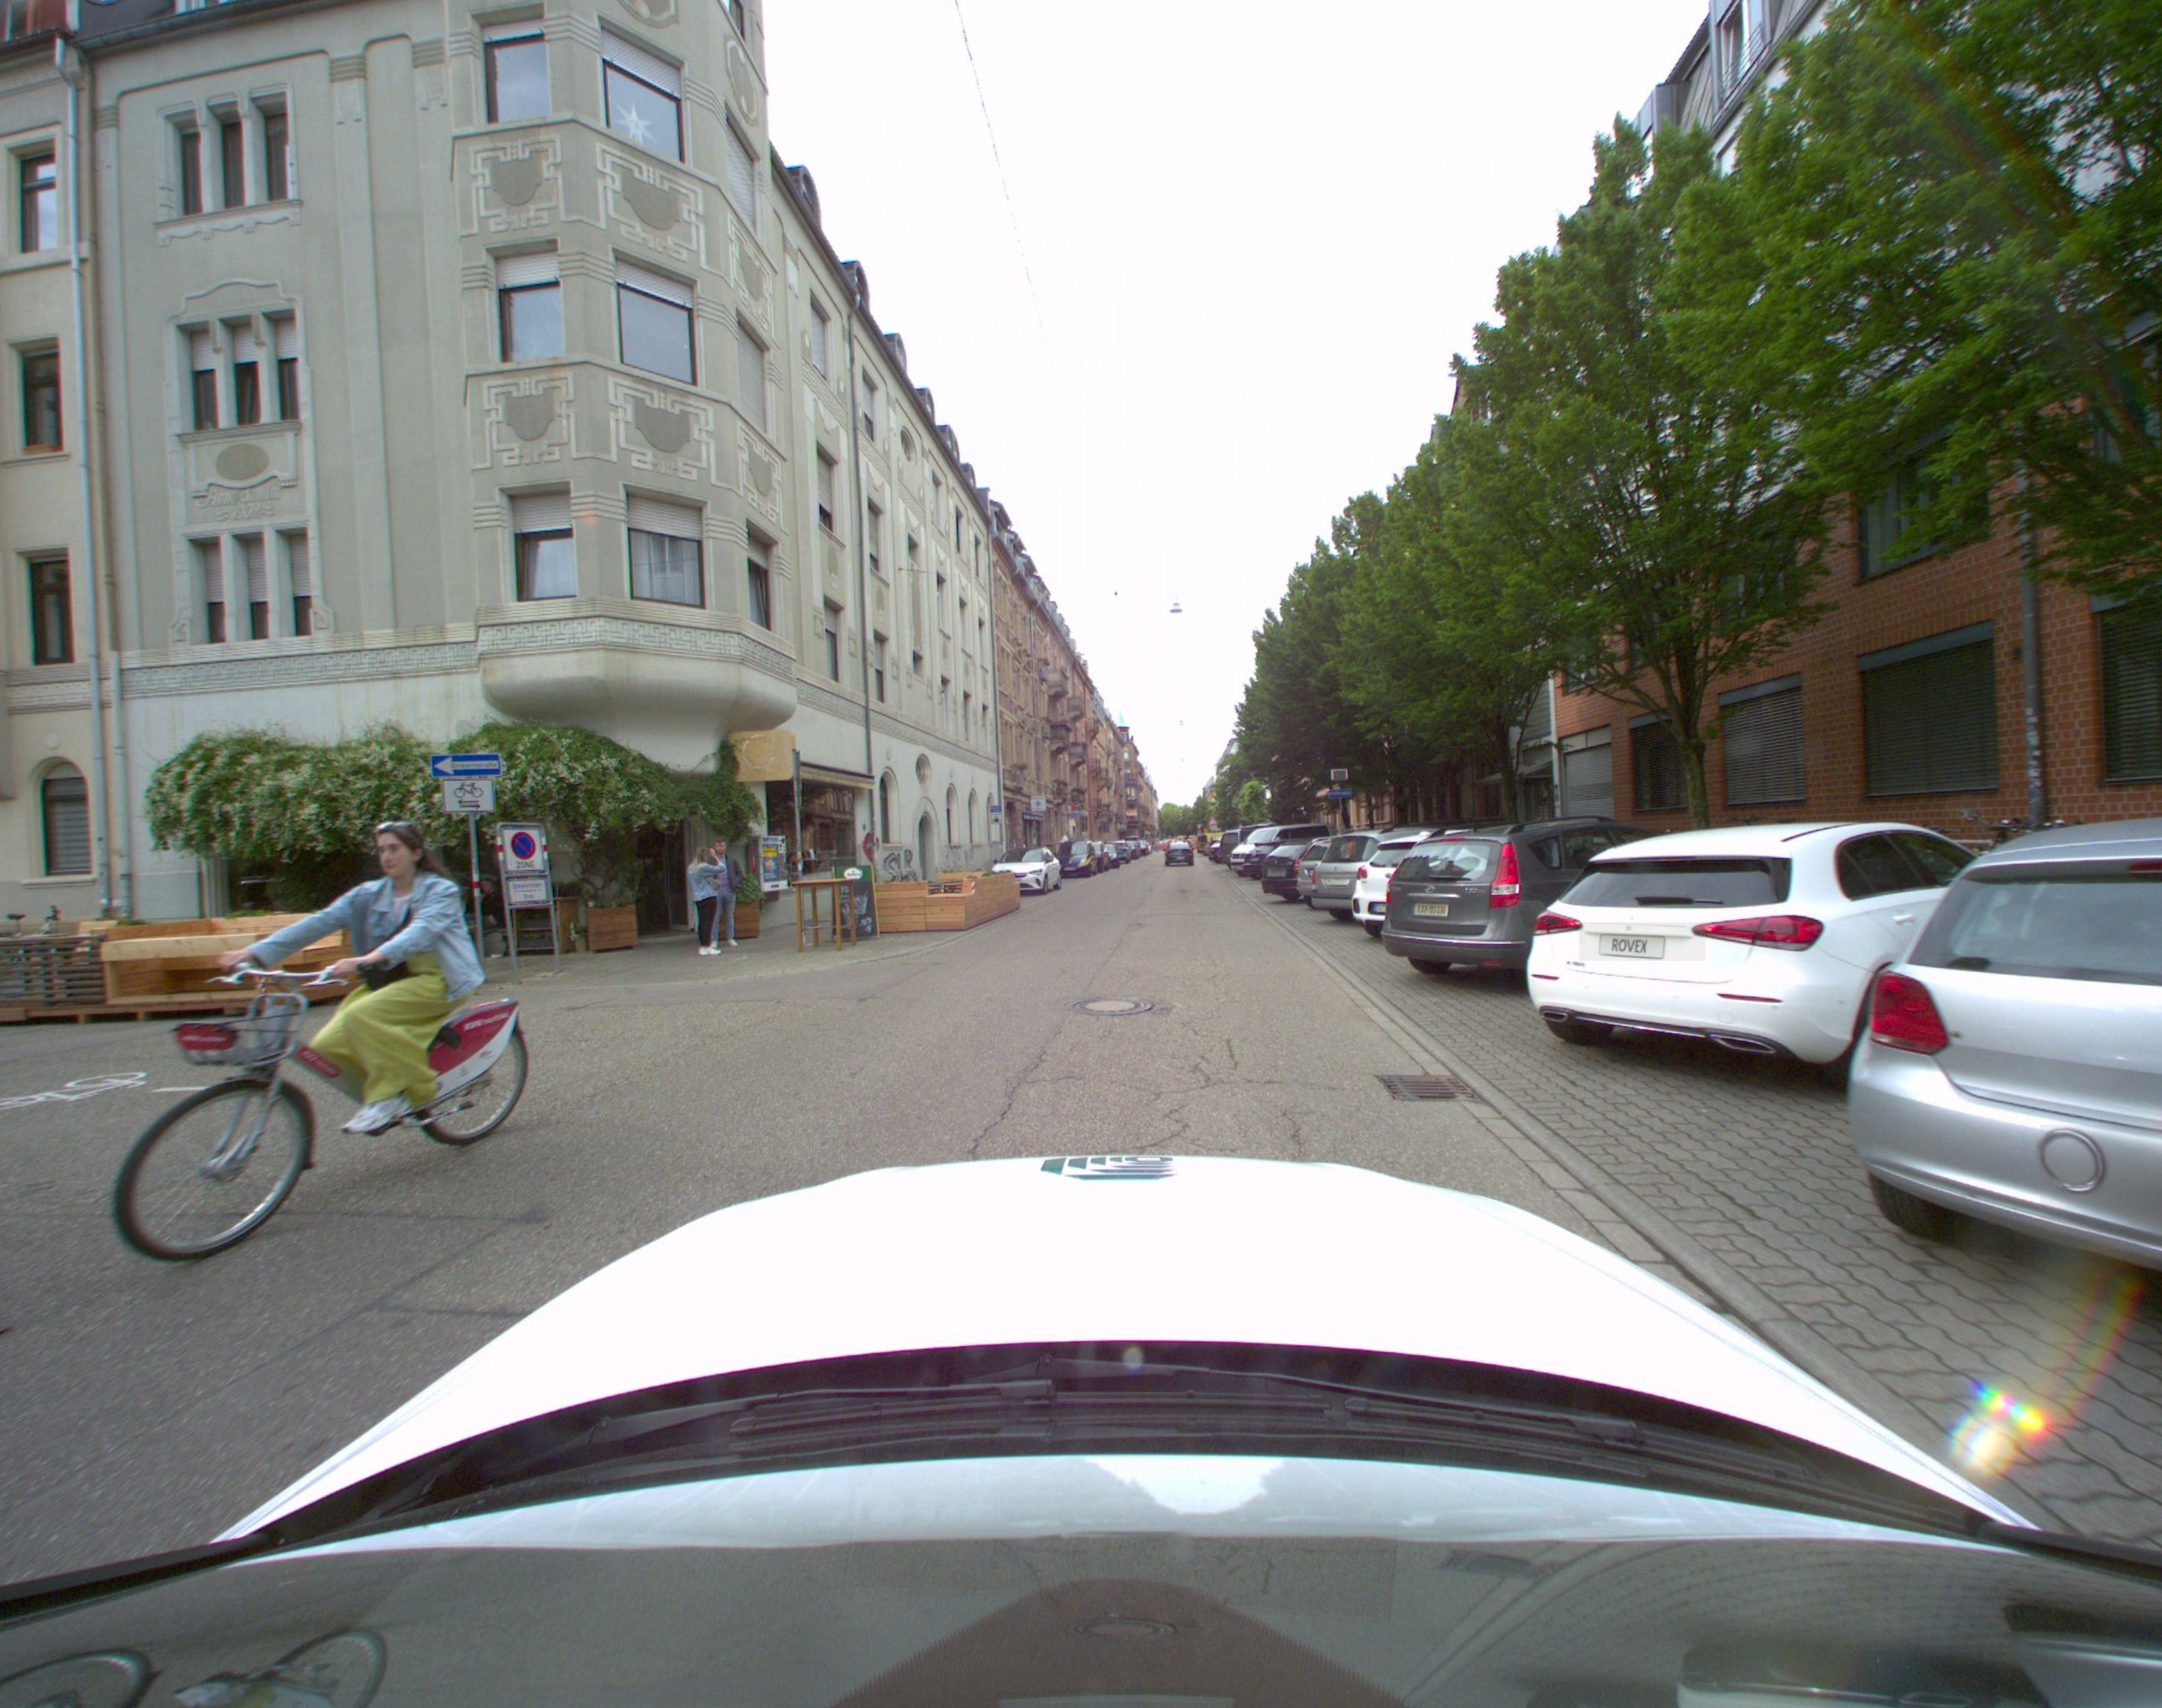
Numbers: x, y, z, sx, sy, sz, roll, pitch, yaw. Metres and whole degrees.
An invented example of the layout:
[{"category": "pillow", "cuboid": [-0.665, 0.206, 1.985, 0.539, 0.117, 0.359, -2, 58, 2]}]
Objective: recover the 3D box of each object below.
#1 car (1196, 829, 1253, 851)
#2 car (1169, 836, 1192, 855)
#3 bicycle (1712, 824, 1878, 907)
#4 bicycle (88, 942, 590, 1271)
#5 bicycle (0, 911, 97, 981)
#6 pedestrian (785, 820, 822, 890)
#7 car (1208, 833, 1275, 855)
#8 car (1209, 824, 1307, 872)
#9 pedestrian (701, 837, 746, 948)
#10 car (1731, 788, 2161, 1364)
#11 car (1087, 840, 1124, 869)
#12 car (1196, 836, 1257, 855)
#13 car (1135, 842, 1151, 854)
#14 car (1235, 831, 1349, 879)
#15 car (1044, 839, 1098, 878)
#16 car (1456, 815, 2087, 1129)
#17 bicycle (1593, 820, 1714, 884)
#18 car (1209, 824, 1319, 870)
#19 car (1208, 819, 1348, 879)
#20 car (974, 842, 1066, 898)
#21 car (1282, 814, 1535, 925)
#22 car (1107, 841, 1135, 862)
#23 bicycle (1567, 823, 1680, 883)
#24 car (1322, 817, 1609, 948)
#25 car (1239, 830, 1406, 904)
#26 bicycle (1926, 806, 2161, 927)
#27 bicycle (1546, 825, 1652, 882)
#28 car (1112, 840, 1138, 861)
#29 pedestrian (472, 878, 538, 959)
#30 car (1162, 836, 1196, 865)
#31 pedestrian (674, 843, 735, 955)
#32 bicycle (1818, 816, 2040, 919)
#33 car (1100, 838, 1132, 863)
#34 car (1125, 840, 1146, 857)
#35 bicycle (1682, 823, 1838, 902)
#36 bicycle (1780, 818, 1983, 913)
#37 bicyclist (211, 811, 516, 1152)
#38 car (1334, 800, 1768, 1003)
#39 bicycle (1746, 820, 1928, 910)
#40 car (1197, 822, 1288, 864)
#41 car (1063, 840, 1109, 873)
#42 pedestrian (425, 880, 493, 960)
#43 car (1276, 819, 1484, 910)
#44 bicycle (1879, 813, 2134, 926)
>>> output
[{"category": "car", "cuboid": [14.293, -1.385, 81.159, 5.410, 1.868, 1.935, -4, 0, -23]}, {"category": "car", "cuboid": [9.612, -0.777, 78.890, 1.984, 1.680, 4.006, -2, -1, 6]}, {"category": "bicycle", "cuboid": [10.117, 0.160, 11.580, 1.743, 1.092, 0.566, -2, -1, 6]}, {"category": "bicycle", "cuboid": [-3.229, 1.008, 3.851, 0.533, 0.977, 1.868, -2, -1, 5]}, {"category": "bicycle", "cuboid": [-18.069, 1.574, 13.973, 1.731, 1.097, 0.727, -2, 0, 11]}, {"category": "pedestrian", "cuboid": [-6.483, 0.026, 19.021, 0.746, 1.593, 0.614, -2, -1, -24]}, {"category": "car", "cuboid": [13.870, -0.883, 70.291, 5.410, 1.553, 1.935, -4, 0, -23]}, {"category": "car", "cuboid": [8.142, -0.272, 37.568, 3.994, 2.013, 1.742, -3, 0, -15]}, {"category": "pedestrian", "cuboid": [-5.801, 0.613, 13.209, 0.582, 1.734, 0.501, -2, -1, -29]}, {"category": "car", "cuboid": [4.347, 0.509, 2.987, 3.576, 1.498, 1.828, -3, 1, -29]}, {"category": "car", "cuboid": [1.528, 0.020, 49.475, 1.934, 1.617, 3.949, -2, 0, 6]}, {"category": "car", "cuboid": [13.583, -0.783, 76.069, 5.410, 1.553, 1.935, -3, 0, -23]}, {"category": "car", "cuboid": [7.802, -0.729, 103.102, 1.985, 1.321, 4.004, -2, -1, 3]}, {"category": "car", "cuboid": [7.810, 0.021, 30.119, 3.873, 1.505, 1.755, -4, 0, -28]}, {"category": "car", "cuboid": [-0.391, 0.186, 37.375, 1.934, 1.617, 3.950, -2, 0, 7]}, {"category": "car", "cuboid": [4.817, 0.538, 5.683, 3.992, 1.543, 1.860, -1, 1, -25]}, {"category": "bicycle", "cuboid": [10.539, -0.025, 15.021, 1.743, 1.092, 0.566, -2, -1, 6]}, {"category": "car", "cuboid": [9.352, -0.360, 41.565, 5.417, 1.992, 1.933, -4, 0, -28]}, {"category": "car", "cuboid": [8.165, -0.234, 33.533, 5.639, 2.127, 1.933, -4, 0, -28]}, {"category": "car", "cuboid": [-1.831, 0.450, 25.687, 1.932, 1.553, 3.827, -4, 0, 9]}, {"category": "car", "cuboid": [5.778, 0.228, 14.356, 4.066, 1.585, 1.757, -4, 0, -24]}, {"category": "car", "cuboid": [3.160, -0.202, 64.132, 1.934, 1.617, 3.949, -2, 0, 6]}, {"category": "bicycle", "cuboid": [10.591, -0.018, 15.941, 1.743, 1.092, 0.566, -2, -1, 6]}, {"category": "car", "cuboid": [5.620, 0.334, 11.804, 4.072, 1.486, 1.666, -4, 0, -30]}, {"category": "car", "cuboid": [5.937, 0.278, 19.892, 3.879, 1.505, 1.752, -4, 0, -34]}, {"category": "bicycle", "cuboid": [9.631, 0.122, 7.982, 1.923, 1.092, 0.578, -2, -1, 6]}, {"category": "bicycle", "cuboid": [10.644, -0.011, 16.764, 1.743, 1.092, 0.566, -2, -1, 6]}, {"category": "car", "cuboid": [3.837, -0.330, 70.738, 1.934, 1.741, 3.950, -2, 0, 7]}, {"category": "pedestrian", "cuboid": [-9.042, 1.006, 12.797, 0.575, 1.197, 0.556, -2, 1, 6]}, {"category": "car", "cuboid": [6.181, -0.176, 51.522, 1.984, 1.680, 4.006, -2, -1, 6]}, {"category": "pedestrian", "cuboid": [-5.763, 0.674, 12.466, 0.573, 1.660, 0.579, -3, -1, 28]}, {"category": "bicycle", "cuboid": [9.739, 0.158, 9.396, 1.826, 1.092, 0.544, -2, -1, 6]}, {"category": "car", "cuboid": [2.549, -0.266, 58.702, 1.934, 1.617, 3.950, -3, 1, 6]}, {"category": "car", "cuboid": [5.931, -0.655, 88.253, 1.934, 1.738, 3.950, -2, 1, 7]}, {"category": "bicycle", "cuboid": [10.132, 0.130, 12.189, 1.743, 1.092, 0.566, -2, -1, 6]}, {"category": "bicycle", "cuboid": [9.949, 0.149, 10.175, 1.826, 1.092, 0.566, -2, -1, 6]}, {"category": "bicyclist", "cuboid": [-3.253, 0.536, 3.767, 0.665, 1.399, 0.785, -2, -1, 6]}, {"category": "car", "cuboid": [4.931, 0.361, 8.542, 4.067, 1.585, 1.888, -4, 0, -25]}, {"category": "bicycle", "cuboid": [9.990, 0.149, 10.805, 1.743, 1.092, 0.566, -2, -1, 6]}, {"category": "car", "cuboid": [10.427, -0.700, 52.719, 5.395, 2.373, 1.941, -4, 0, -15]}, {"category": "car", "cuboid": [0.318, 0.116, 42.814, 1.934, 1.617, 3.950, -2, 0, 7]}, {"category": "pedestrian", "cuboid": [-9.827, 1.035, 12.880, 0.575, 1.197, 0.556, -2, 1, 6]}, {"category": "car", "cuboid": [6.307, 0.180, 17.114, 4.070, 1.585, 1.755, -4, 0, -27]}, {"category": "bicycle", "cuboid": [9.699, 0.166, 8.585, 1.885, 1.092, 0.544, -2, -1, 6]}]
